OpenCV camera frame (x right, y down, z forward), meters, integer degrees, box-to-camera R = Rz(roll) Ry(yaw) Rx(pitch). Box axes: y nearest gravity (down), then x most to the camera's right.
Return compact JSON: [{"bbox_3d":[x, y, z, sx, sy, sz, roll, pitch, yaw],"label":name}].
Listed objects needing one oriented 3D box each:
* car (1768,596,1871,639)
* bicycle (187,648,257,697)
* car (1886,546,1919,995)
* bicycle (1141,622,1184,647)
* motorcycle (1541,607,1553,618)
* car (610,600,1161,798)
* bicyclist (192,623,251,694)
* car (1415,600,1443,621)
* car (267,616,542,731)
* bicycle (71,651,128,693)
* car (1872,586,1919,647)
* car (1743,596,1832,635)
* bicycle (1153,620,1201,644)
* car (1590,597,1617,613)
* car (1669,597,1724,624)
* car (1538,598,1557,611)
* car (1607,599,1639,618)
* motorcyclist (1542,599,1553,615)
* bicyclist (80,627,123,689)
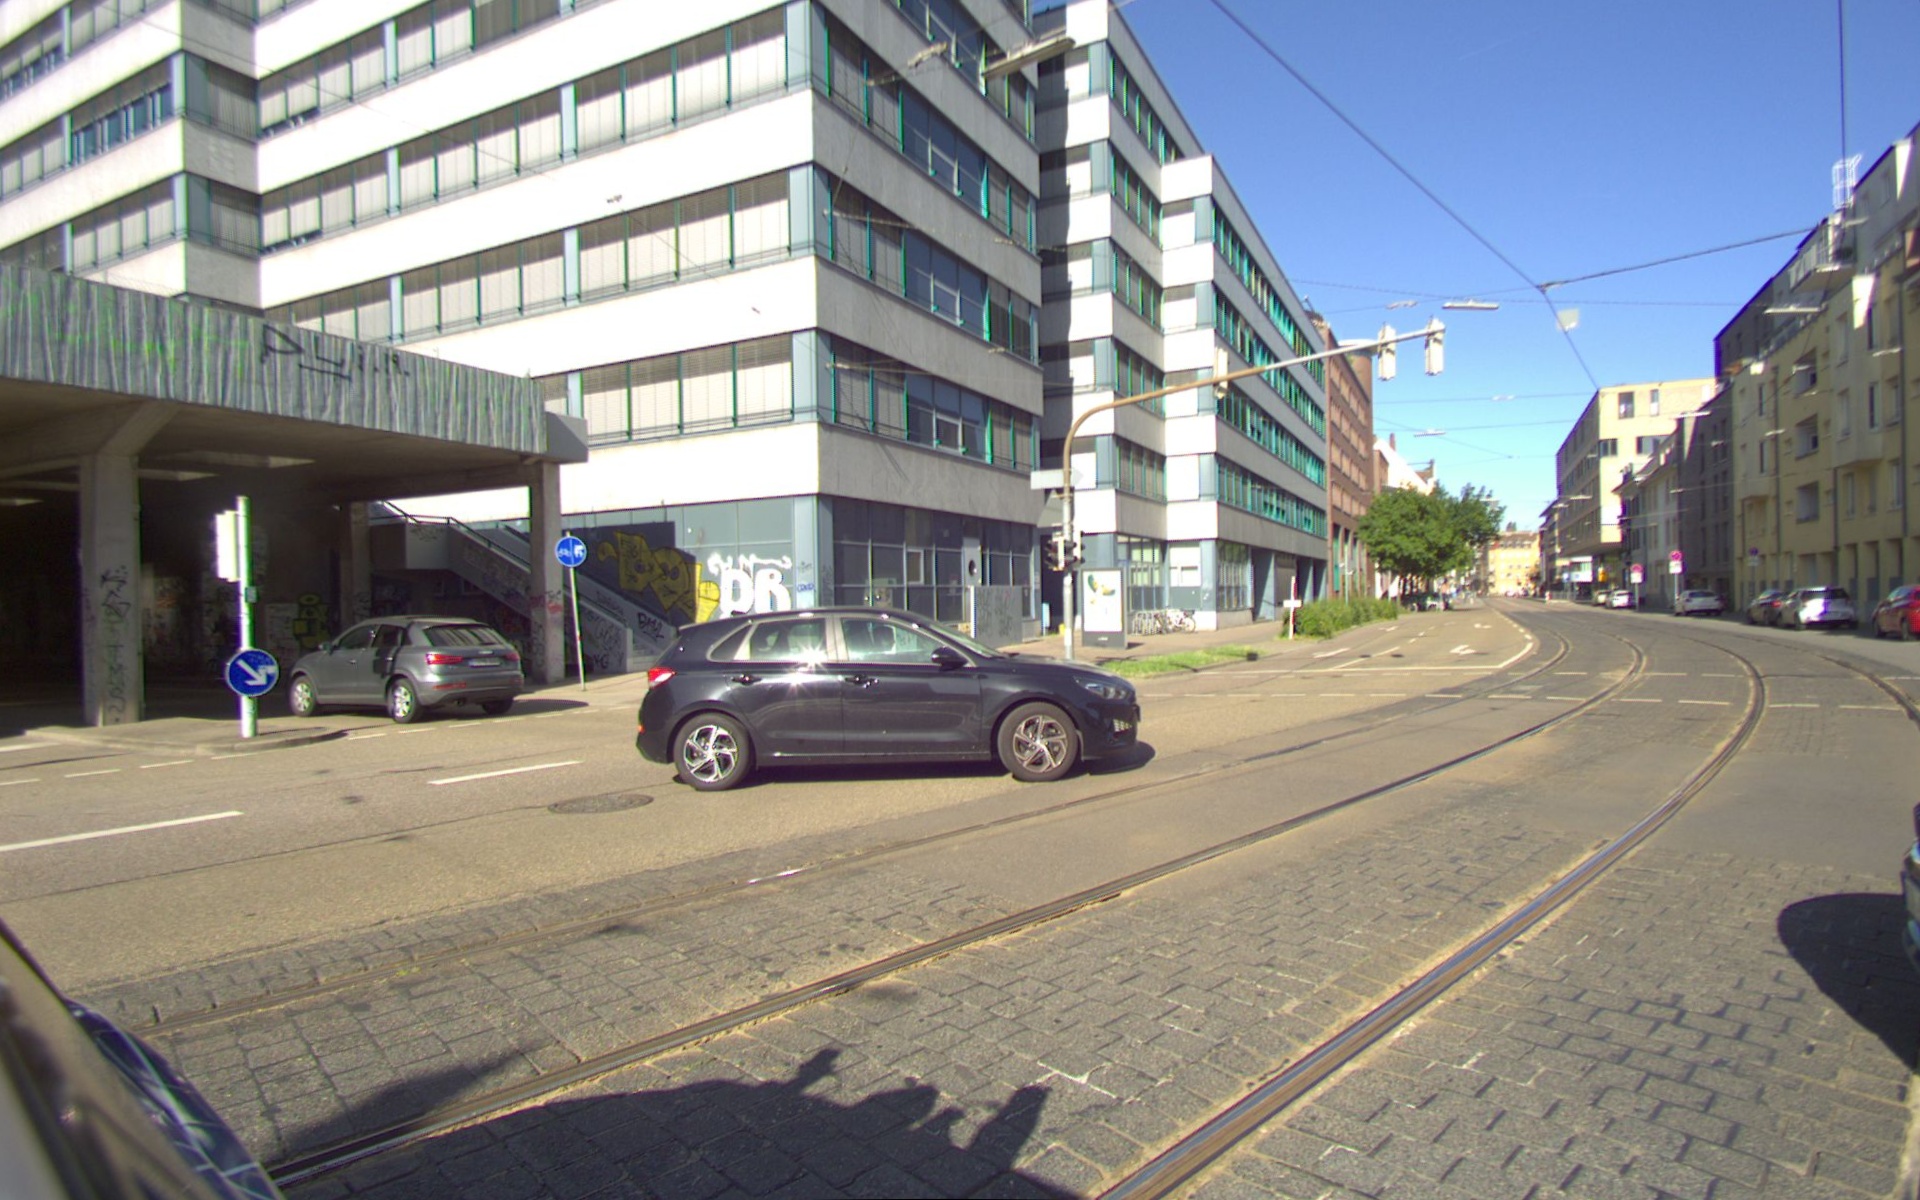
[{"bbox_3d":[30.078,0.601,35.535,1.992,1.373,3.803,-3,-1,29],"label":"car"},{"bbox_3d":[-17.996,1.756,24.669,2.049,1.131,0.538,-2,-1,28],"label":"bicycle"},{"bbox_3d":[4.663,0.538,1.819,4.102,1.525,1.774,-2,-1,32],"label":"car"},{"bbox_3d":[8.238,1.390,41.220,1.662,0.988,0.481,-1,0,37],"label":"bicycle"},{"bbox_3d":[68.536,1.409,118.108,0.911,1.242,2.741,-1,-1,24],"label":"motorcycle"},{"bbox_3d":[-0.563,0.790,8.715,4.271,1.462,1.804,-1,-1,5],"label":"car"},{"bbox_3d":[-17.963,1.402,24.617,1.026,1.673,0.777,-2,-1,27],"label":"bicyclist"},{"bbox_3d":[36.620,0.818,78.955,1.773,1.614,3.961,-2,-1,28],"label":"car"},{"bbox_3d":[-8.944,1.117,16.258,4.126,1.622,1.874,-1,-1,27],"label":"car"},{"bbox_3d":[-23.471,1.945,27.595,1.851,1.098,0.522,-2,-1,28],"label":"bicycle"},{"bbox_3d":[25.998,0.401,26.755,1.891,1.552,3.853,-1,0,28],"label":"car"},{"bbox_3d":[32.140,0.593,39.429,1.956,1.373,3.803,-3,-1,29],"label":"car"},{"bbox_3d":[8.997,1.315,42.048,1.896,0.988,0.481,-1,0,37],"label":"bicycle"},{"bbox_3d":[58.876,0.452,92.624,1.796,1.339,3.676,-3,-1,29],"label":"car"},{"bbox_3d":[40.517,0.593,55.754,1.956,1.373,3.803,-3,-1,29],"label":"car"},{"bbox_3d":[69.170,0.549,119.237,1.796,1.373,3.676,-3,-1,29],"label":"car"},{"bbox_3d":[51.907,0.652,79.316,1.796,1.373,3.676,-3,-1,29],"label":"car"},{"bbox_3d":[68.492,0.796,118.033,0.937,1.884,1.047,-1,-1,24],"label":"motorcyclist"},{"bbox_3d":[-23.344,1.569,27.524,0.905,1.645,0.602,-2,-1,28],"label":"bicyclist"}]
